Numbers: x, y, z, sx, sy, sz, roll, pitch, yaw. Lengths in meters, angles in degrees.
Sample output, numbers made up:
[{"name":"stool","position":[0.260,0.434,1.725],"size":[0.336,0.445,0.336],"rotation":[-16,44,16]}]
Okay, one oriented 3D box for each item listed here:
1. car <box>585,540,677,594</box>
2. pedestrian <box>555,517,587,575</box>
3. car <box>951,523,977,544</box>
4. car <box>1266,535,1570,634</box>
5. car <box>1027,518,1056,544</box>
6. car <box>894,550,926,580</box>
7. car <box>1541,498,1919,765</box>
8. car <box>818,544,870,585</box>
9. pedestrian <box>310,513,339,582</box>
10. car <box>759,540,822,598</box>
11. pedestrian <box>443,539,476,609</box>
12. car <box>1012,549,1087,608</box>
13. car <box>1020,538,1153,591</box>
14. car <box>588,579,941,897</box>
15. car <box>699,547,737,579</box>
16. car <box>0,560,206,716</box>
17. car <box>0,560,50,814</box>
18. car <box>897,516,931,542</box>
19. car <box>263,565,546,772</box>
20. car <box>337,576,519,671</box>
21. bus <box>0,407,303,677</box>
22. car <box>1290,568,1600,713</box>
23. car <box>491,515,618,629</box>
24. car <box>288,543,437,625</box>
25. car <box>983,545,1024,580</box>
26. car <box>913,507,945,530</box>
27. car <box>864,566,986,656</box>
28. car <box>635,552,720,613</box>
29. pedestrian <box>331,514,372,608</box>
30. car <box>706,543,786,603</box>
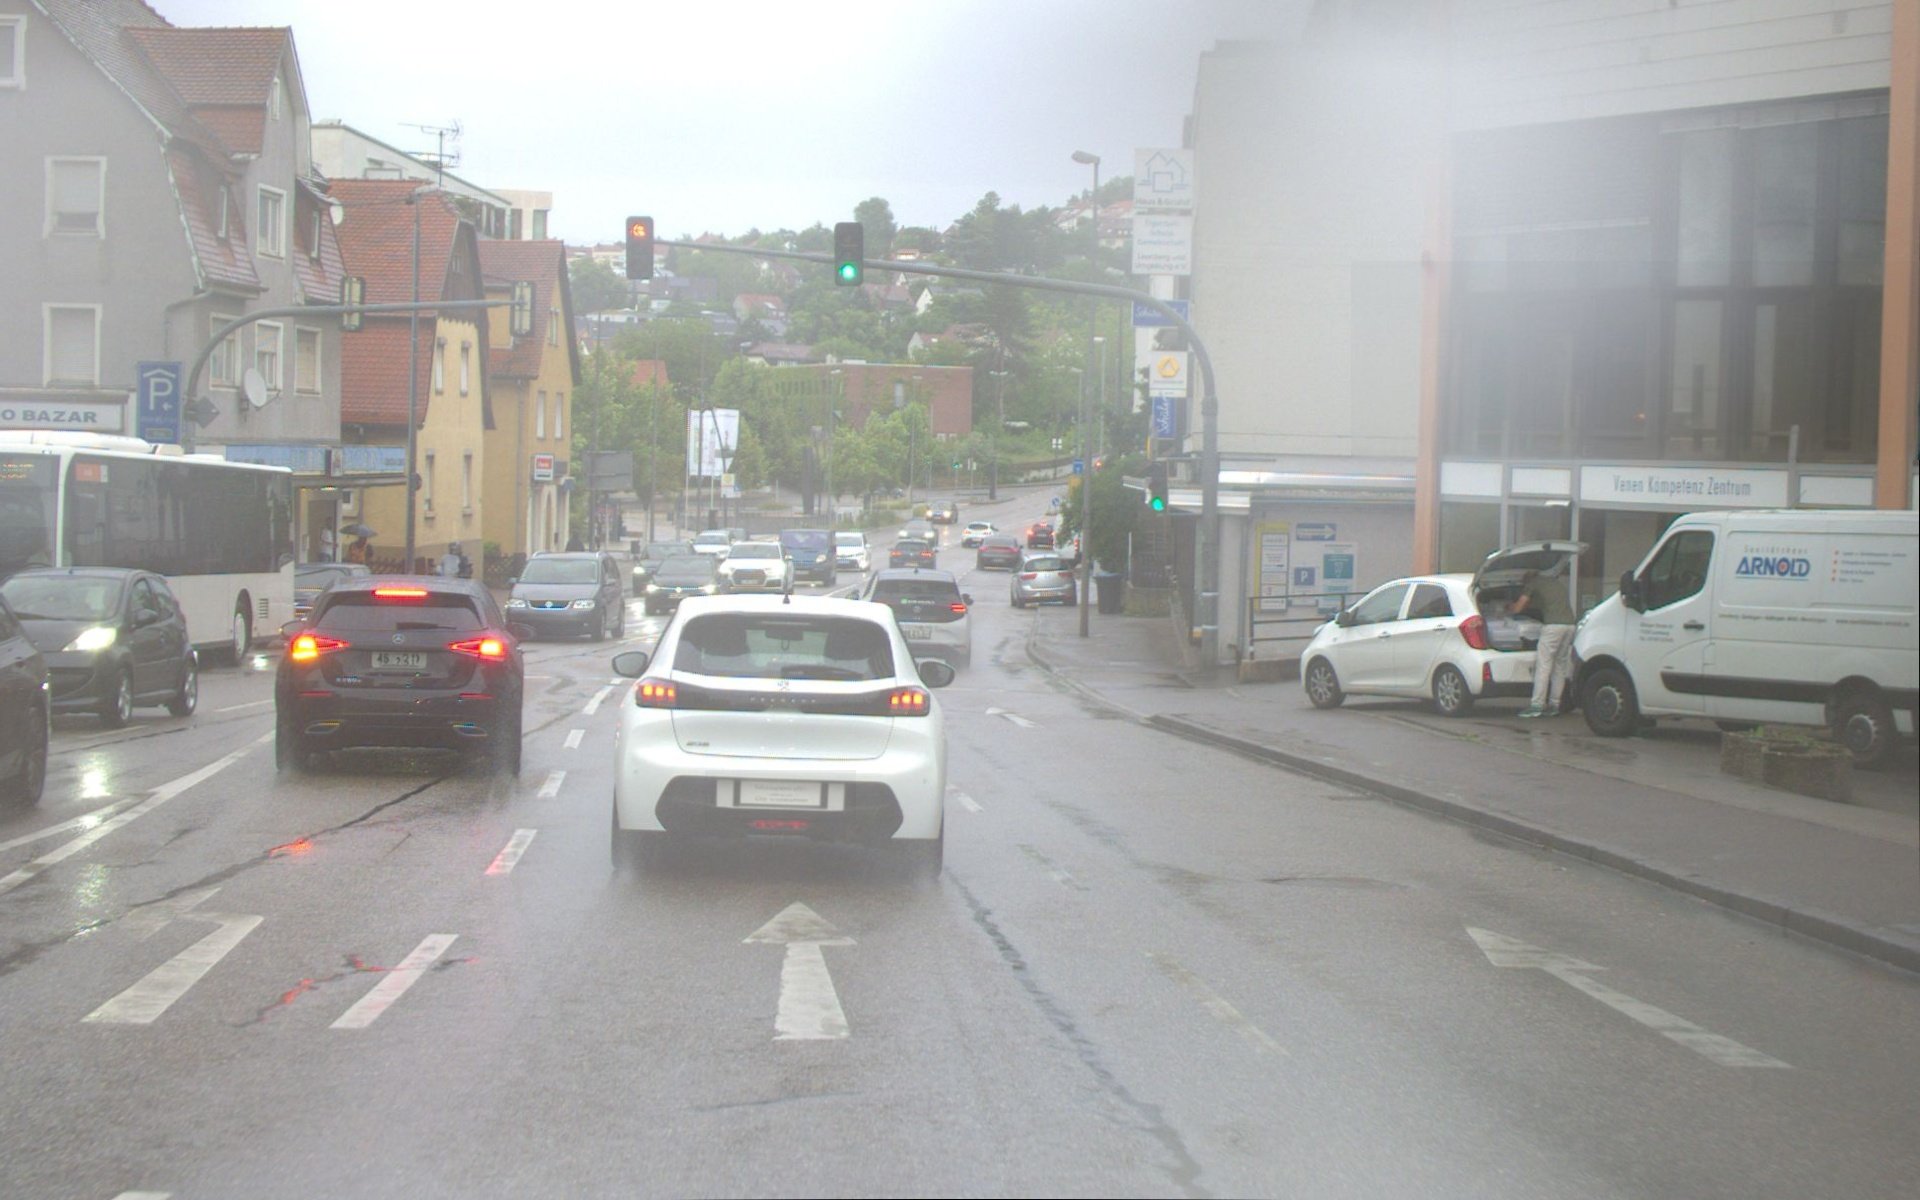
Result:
[{"name":"car","position":[-10.206,-1.015,107.002],"size":[2.001,1.612,4.947],"rotation":[1,1,5]},{"name":"pedestrian","position":[-12.042,-1.665,106.329],"size":[0.801,1.782,0.882],"rotation":[1,0,5]},{"name":"car","position":[0.251,-3.775,195.655],"size":[1.385,1.122,2.610],"rotation":[1,1,2]},{"name":"car","position":[6.913,-0.259,51.783],"size":[4.385,1.406,1.736],"rotation":[-1,2,-31]},{"name":"car","position":[4.755,-4.013,200.333],"size":[1.648,1.480,3.366],"rotation":[1,1,1]},{"name":"car","position":[-1.955,-1.373,134.554],"size":[1.213,1.152,2.270],"rotation":[1,1,-1]},{"name":"car","position":[7.852,0.205,32.009],"size":[2.001,2.201,4.875],"rotation":[-2,3,-34]},{"name":"car","position":[-4.736,-1.456,141.017],"size":[1.878,1.603,4.719],"rotation":[1,1,1]},{"name":"pedestrian","position":[-14.469,-1.201,78.285],"size":[0.543,1.552,0.446],"rotation":[1,1,2]},{"name":"car","position":[-5.857,-1.076,119.102],"size":[1.965,1.931,5.180],"rotation":[1,1,-1]},{"name":"pedestrian","position":[-10.006,-0.520,68.746],"size":[0.579,1.390,0.561],"rotation":[1,0,-1]},{"name":"car","position":[2.632,-0.611,101.786],"size":[2.011,1.616,4.361],"rotation":[2,0,-1]},{"name":"car","position":[5.847,-1.629,158.438],"size":[2.297,2.374,6.608],"rotation":[1,1,43]},{"name":"car","position":[-0.970,0.659,18.739],"size":[1.691,1.514,3.933],"rotation":[1,0,-1]},{"name":"car","position":[-10.134,-1.541,144.039],"size":[1.370,1.309,3.042],"rotation":[1,1,-1]},{"name":"car","position":[-8.170,0.320,31.898],"size":[1.565,1.370,3.282],"rotation":[0,1,1]},{"name":"car","position":[-6.503,0.514,19.808],"size":[1.706,1.512,4.393],"rotation":[1,1,-5]},{"name":"car","position":[-2.616,-4.032,194.721],"size":[1.768,1.409,4.526],"rotation":[1,1,1]},{"name":"car","position":[-4.179,0.464,26.412],"size":[1.715,1.445,4.199],"rotation":[1,1,-3]},{"name":"car","position":[-7.463,0.306,48.612],"size":[1.896,1.252,4.194],"rotation":[1,1,0]},{"name":"bus","position":[-11.439,-0.742,45.579],"size":[2.892,3.088,11.999],"rotation":[1,1,1]},{"name":"car","position":[5.185,0.408,37.125],"size":[1.611,1.457,3.424],"rotation":[1,1,-28]},{"name":"car","position":[-7.444,-0.522,63.385],"size":[1.633,2.007,4.284],"rotation":[1,1,2]},{"name":"car","position":[-10.143,-0.281,58.565],"size":[1.641,1.333,3.600],"rotation":[1,1,4]},{"name":"car","position":[1.893,-1.641,150.025],"size":[1.734,1.383,3.352],"rotation":[2,1,1]},{"name":"car","position":[-2.115,-5.615,236.359],"size":[1.881,1.518,4.183],"rotation":[1,1,4]},{"name":"car","position":[-0.584,0.157,54.288],"size":[1.741,1.291,3.334],"rotation":[1,2,-3]},{"name":"car","position":[-6.938,-0.440,84.804],"size":[1.758,1.429,4.381],"rotation":[1,1,-1]},{"name":"pedestrian","position":[-12.717,-0.824,71.857],"size":[0.661,1.914,0.947],"rotation":[3,0,-6]},{"name":"car","position":[-6.313,-0.813,102.012],"size":[2.098,1.706,4.849],"rotation":[1,1,-1]}]
